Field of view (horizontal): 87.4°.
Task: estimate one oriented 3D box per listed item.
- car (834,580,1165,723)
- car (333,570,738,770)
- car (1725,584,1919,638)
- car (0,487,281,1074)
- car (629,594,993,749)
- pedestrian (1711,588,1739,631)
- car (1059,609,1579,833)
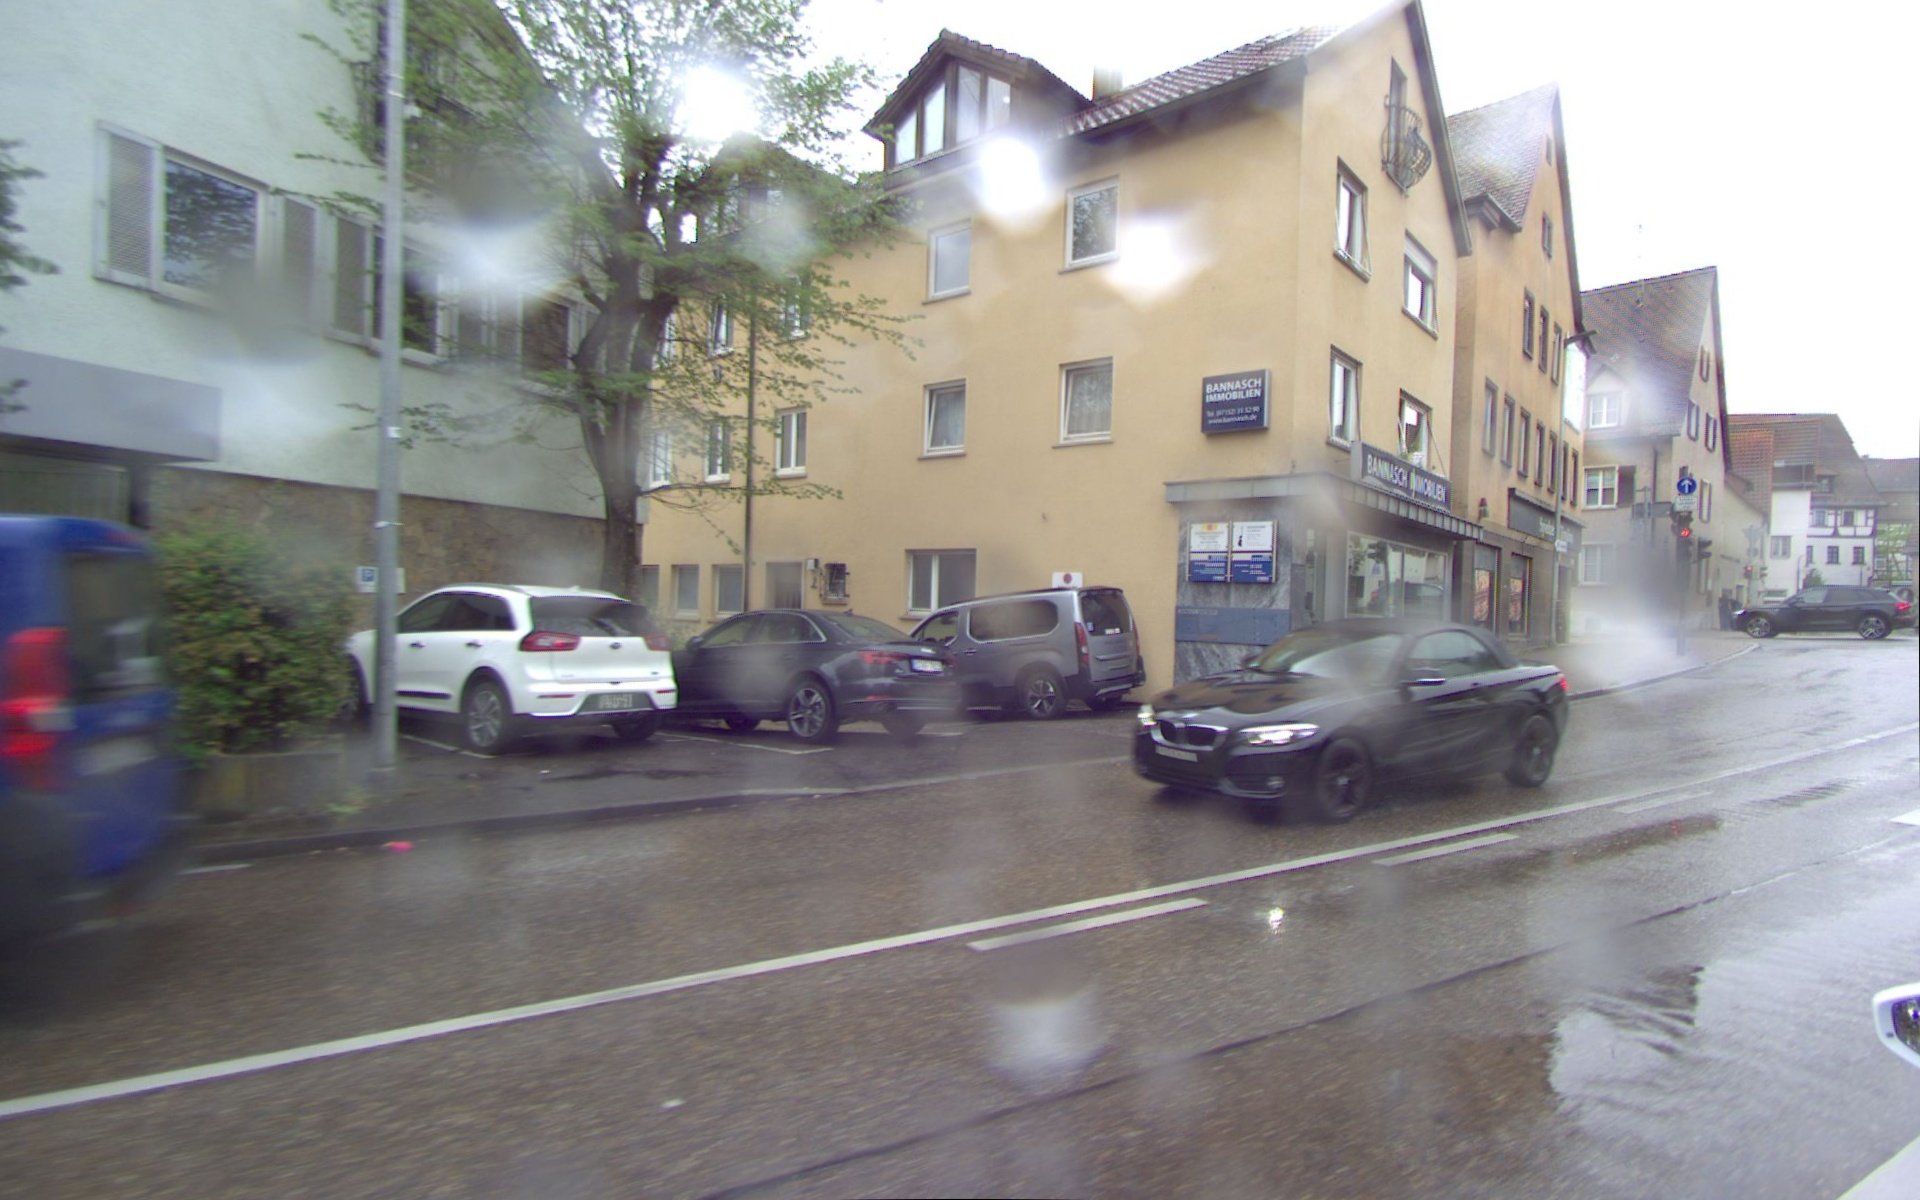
[{"bbox_3d":[0.483,0.851,15.649,4.861,1.849,1.954,-6,-3,39],"label":"car"},{"bbox_3d":[-4.260,0.570,10.060,3.581,1.650,1.996,1,0,31],"label":"car"},{"bbox_3d":[28.032,0.307,32.753,1.817,1.609,4.689,-1,1,-42],"label":"car"},{"bbox_3d":[-5.019,0.556,3.352,4.324,1.906,1.985,2,-1,-29],"label":"car"},{"bbox_3d":[-1.785,0.816,11.508,3.937,1.472,1.893,-4,-4,36],"label":"car"},{"bbox_3d":[34.286,0.419,45.032,0.784,1.854,0.713,-3,-1,27],"label":"pedestrian"},{"bbox_3d":[3.055,0.791,8.306,4.215,1.405,1.851,0,0,-32],"label":"car"}]
